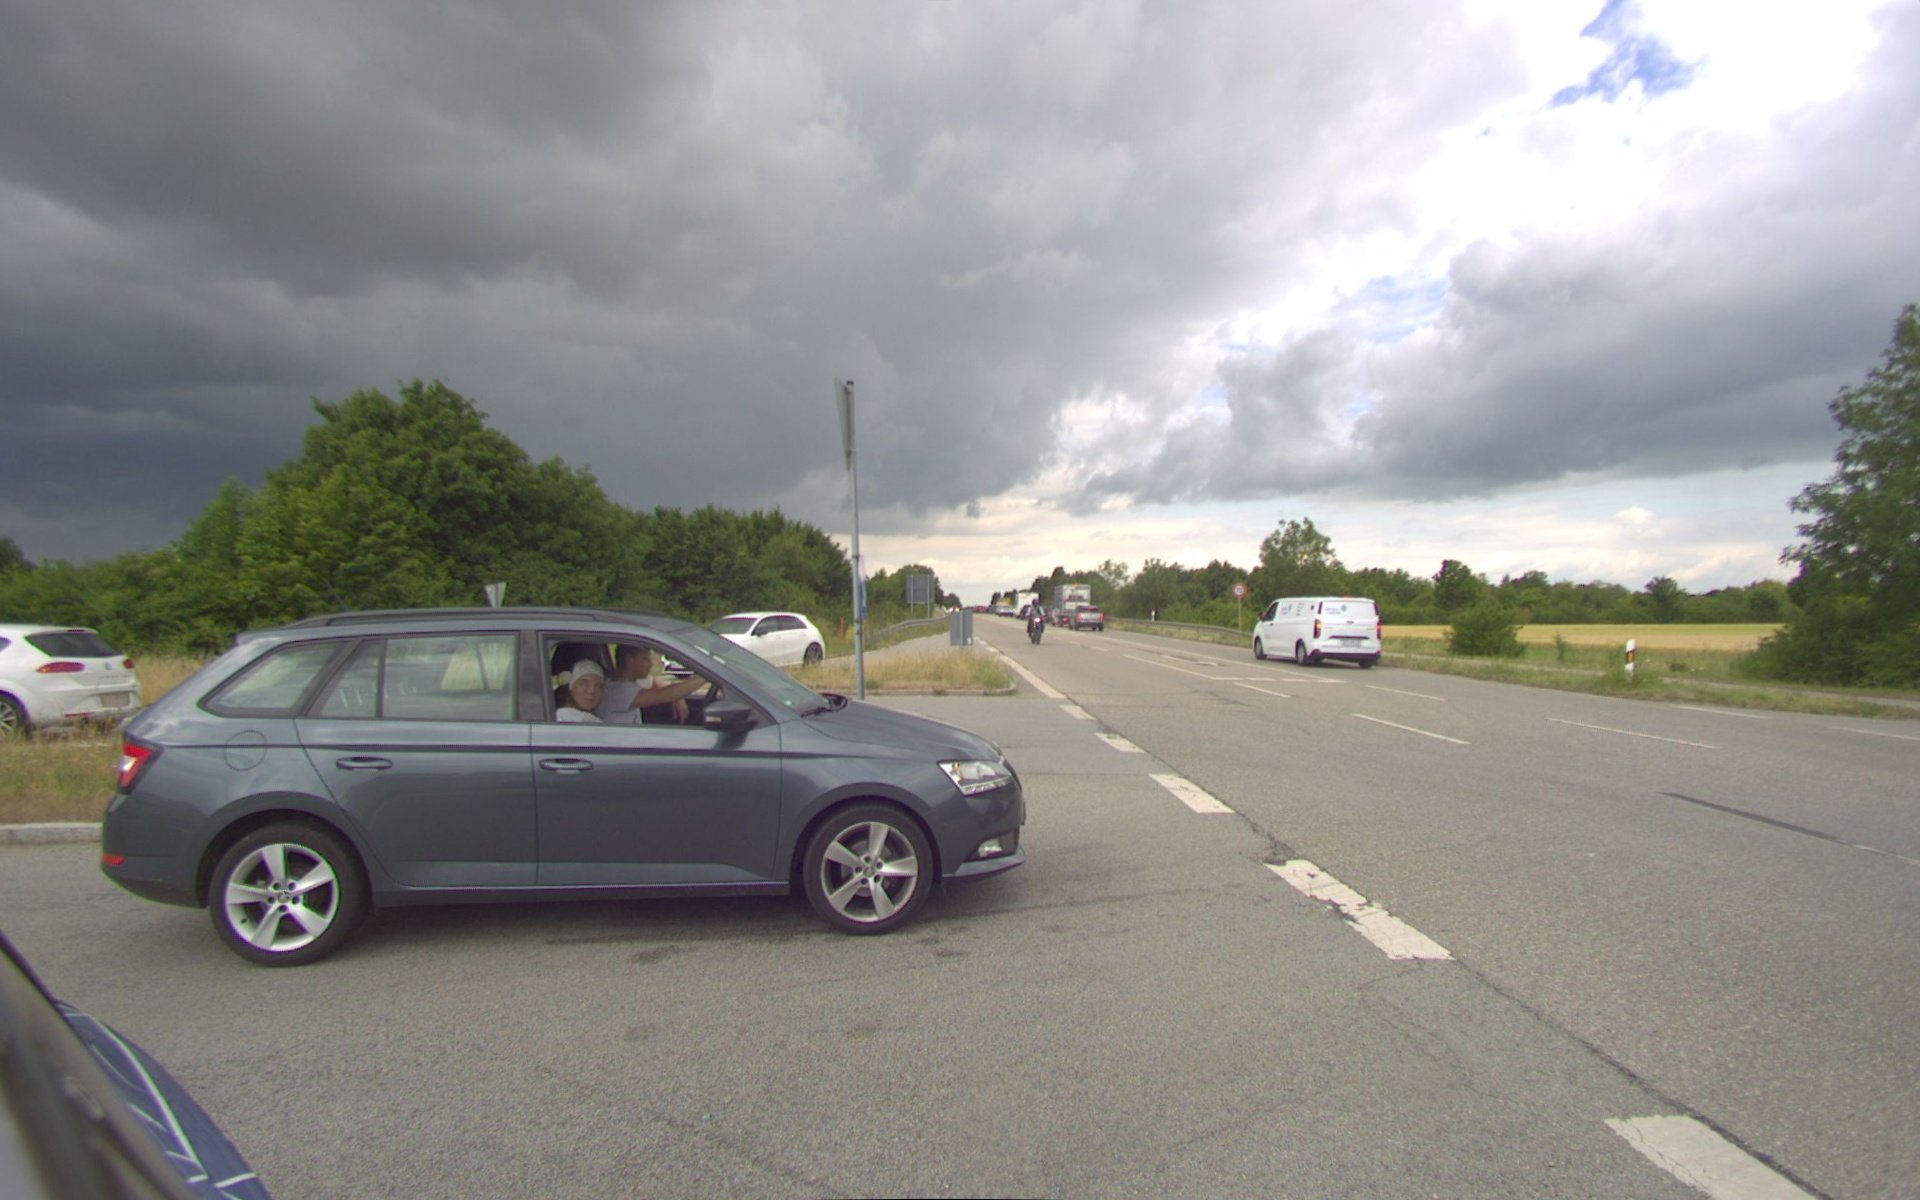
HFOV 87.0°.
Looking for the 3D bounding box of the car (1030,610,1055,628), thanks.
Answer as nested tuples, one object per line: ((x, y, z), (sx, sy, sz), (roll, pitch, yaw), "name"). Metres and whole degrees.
((7.341, 1.742, 90.517), (1.822, 1.537, 4.001), (-1, -1, -1), "car")

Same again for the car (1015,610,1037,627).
((6.963, 1.992, 107.040), (1.831, 1.763, 4.002), (0, -1, -2), "car")

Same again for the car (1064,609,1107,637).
((8.099, 1.493, 65.641), (1.970, 1.636, 4.264), (2, -1, -3), "car")

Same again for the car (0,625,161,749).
((-12.712, 1.009, 12.414), (4.247, 1.419, 1.822), (1, -2, -5), "car")

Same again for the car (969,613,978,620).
((3.056, 3.664, 225.160), (1.771, 1.564, 4.001), (-1, -1, -2), "car")

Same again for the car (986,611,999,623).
((5.170, 2.737, 162.511), (1.831, 1.763, 4.001), (0, -1, -1), "car")

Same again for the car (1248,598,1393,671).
((10.230, 0.963, 29.281), (2.082, 1.900, 5.393), (0, -1, -2), "car")

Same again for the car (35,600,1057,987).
((-1.711, 0.755, 5.062), (4.052, 1.458, 1.722), (-1, 0, -8), "car")

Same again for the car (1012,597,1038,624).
((7.460, 1.255, 116.778), (2.307, 3.052, 6.560), (-1, -1, -2), "car")

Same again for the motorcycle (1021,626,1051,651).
((2.933, 1.460, 39.107), (0.930, 0.896, 2.146), (-1, -1, -2), "motorcycle")

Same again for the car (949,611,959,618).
((-1.193, 3.100, 212.721), (1.971, 1.493, 4.001), (-1, -1, -2), "car")

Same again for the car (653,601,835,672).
((-4.858, 0.808, 23.426), (1.764, 1.462, 4.351), (-1, -1, 28), "car")

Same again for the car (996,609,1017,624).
((6.148, 2.195, 134.039), (2.307, 1.936, 4.877), (-1, -1, -2), "car")

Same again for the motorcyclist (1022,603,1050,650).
((2.933, 1.025, 39.179), (0.930, 1.763, 1.201), (-1, -1, -2), "motorcyclist")

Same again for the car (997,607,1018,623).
((5.986, 1.904, 128.202), (2.307, 1.936, 4.877), (-1, -1, -2), "car")

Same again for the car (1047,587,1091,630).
((8.249, 0.690, 77.251), (2.307, 3.052, 6.560), (2, -2, -2), "car")

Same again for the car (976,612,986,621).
((4.103, 3.166, 197.990), (1.831, 1.763, 4.001), (0, -1, -1), "car")
